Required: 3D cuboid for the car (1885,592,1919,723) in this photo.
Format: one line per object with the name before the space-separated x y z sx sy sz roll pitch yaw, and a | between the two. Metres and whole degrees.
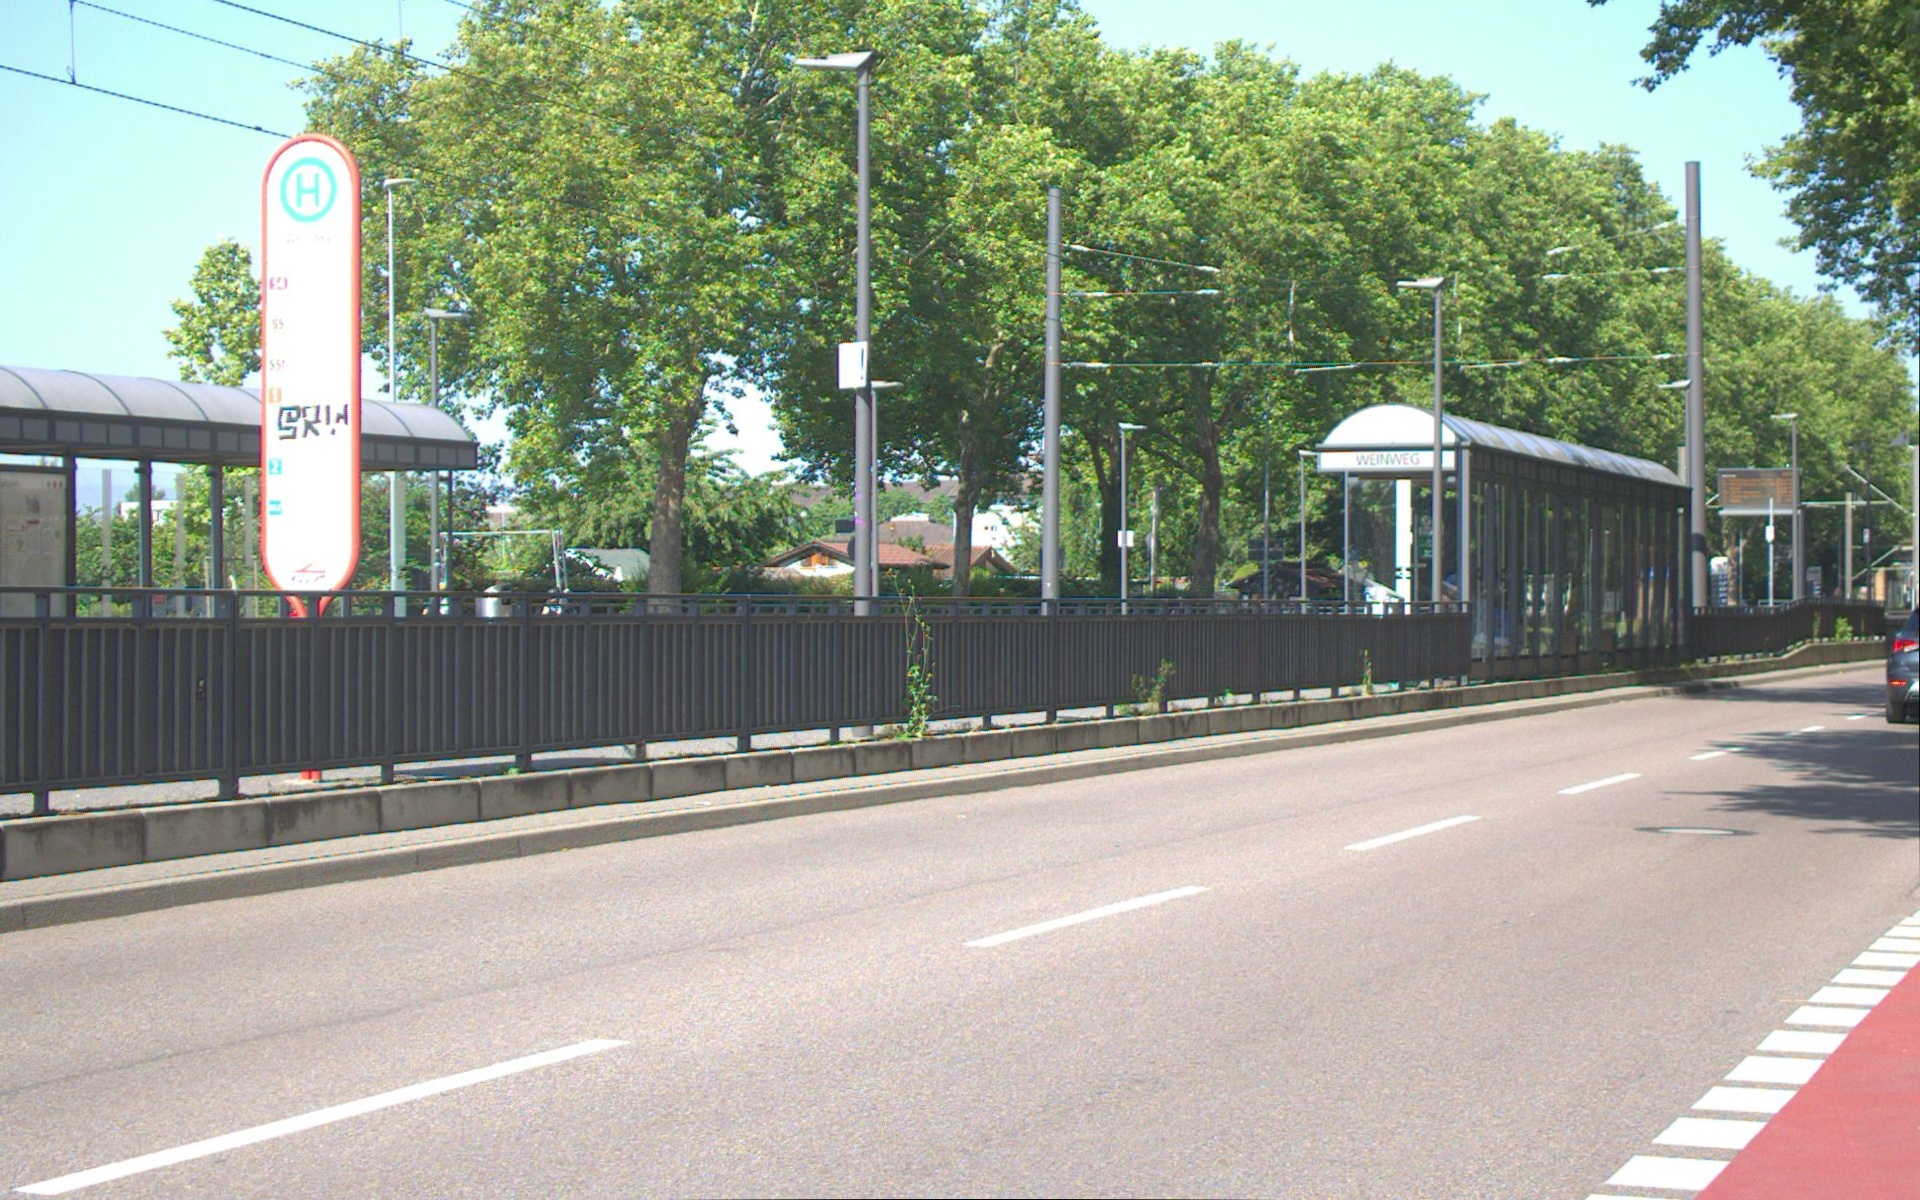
car | 12.272 0.708 41.655 1.671 1.518 3.373 1 0 21
